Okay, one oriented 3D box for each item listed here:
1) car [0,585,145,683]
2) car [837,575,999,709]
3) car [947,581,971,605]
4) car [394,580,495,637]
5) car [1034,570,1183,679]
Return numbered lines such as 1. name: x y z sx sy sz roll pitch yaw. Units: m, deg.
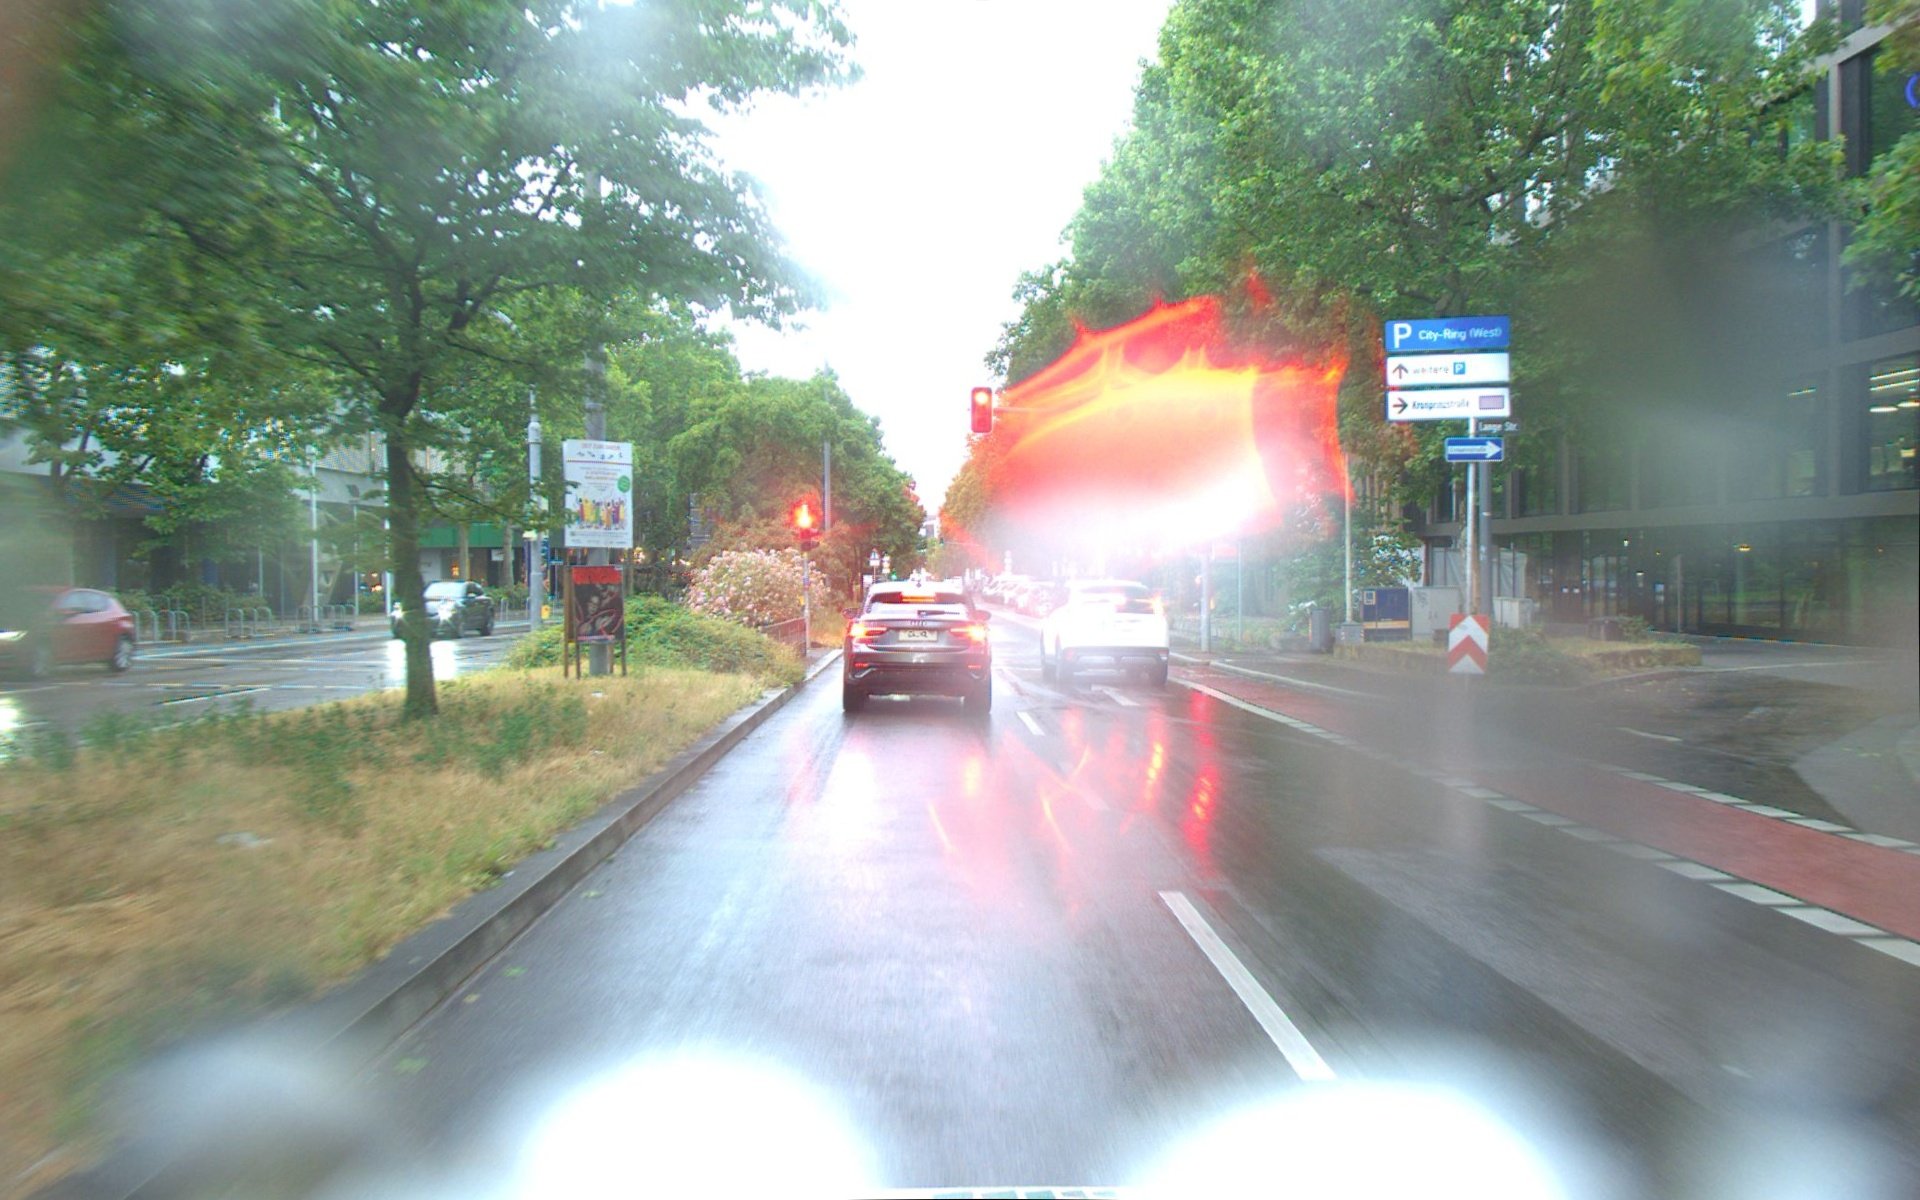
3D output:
1. car: -15.146 0.496 27.131 1.582 1.418 4.183 0 1 -2
2. car: -0.543 0.460 21.163 1.880 1.517 3.999 0 1 -2
3. car: -0.098 -0.537 120.037 1.588 1.695 3.999 -1 1 -2
4. car: -14.985 0.206 48.276 1.793 1.579 4.187 0 1 -2
5. car: 2.423 0.337 28.143 1.953 1.684 4.887 0 1 -2
